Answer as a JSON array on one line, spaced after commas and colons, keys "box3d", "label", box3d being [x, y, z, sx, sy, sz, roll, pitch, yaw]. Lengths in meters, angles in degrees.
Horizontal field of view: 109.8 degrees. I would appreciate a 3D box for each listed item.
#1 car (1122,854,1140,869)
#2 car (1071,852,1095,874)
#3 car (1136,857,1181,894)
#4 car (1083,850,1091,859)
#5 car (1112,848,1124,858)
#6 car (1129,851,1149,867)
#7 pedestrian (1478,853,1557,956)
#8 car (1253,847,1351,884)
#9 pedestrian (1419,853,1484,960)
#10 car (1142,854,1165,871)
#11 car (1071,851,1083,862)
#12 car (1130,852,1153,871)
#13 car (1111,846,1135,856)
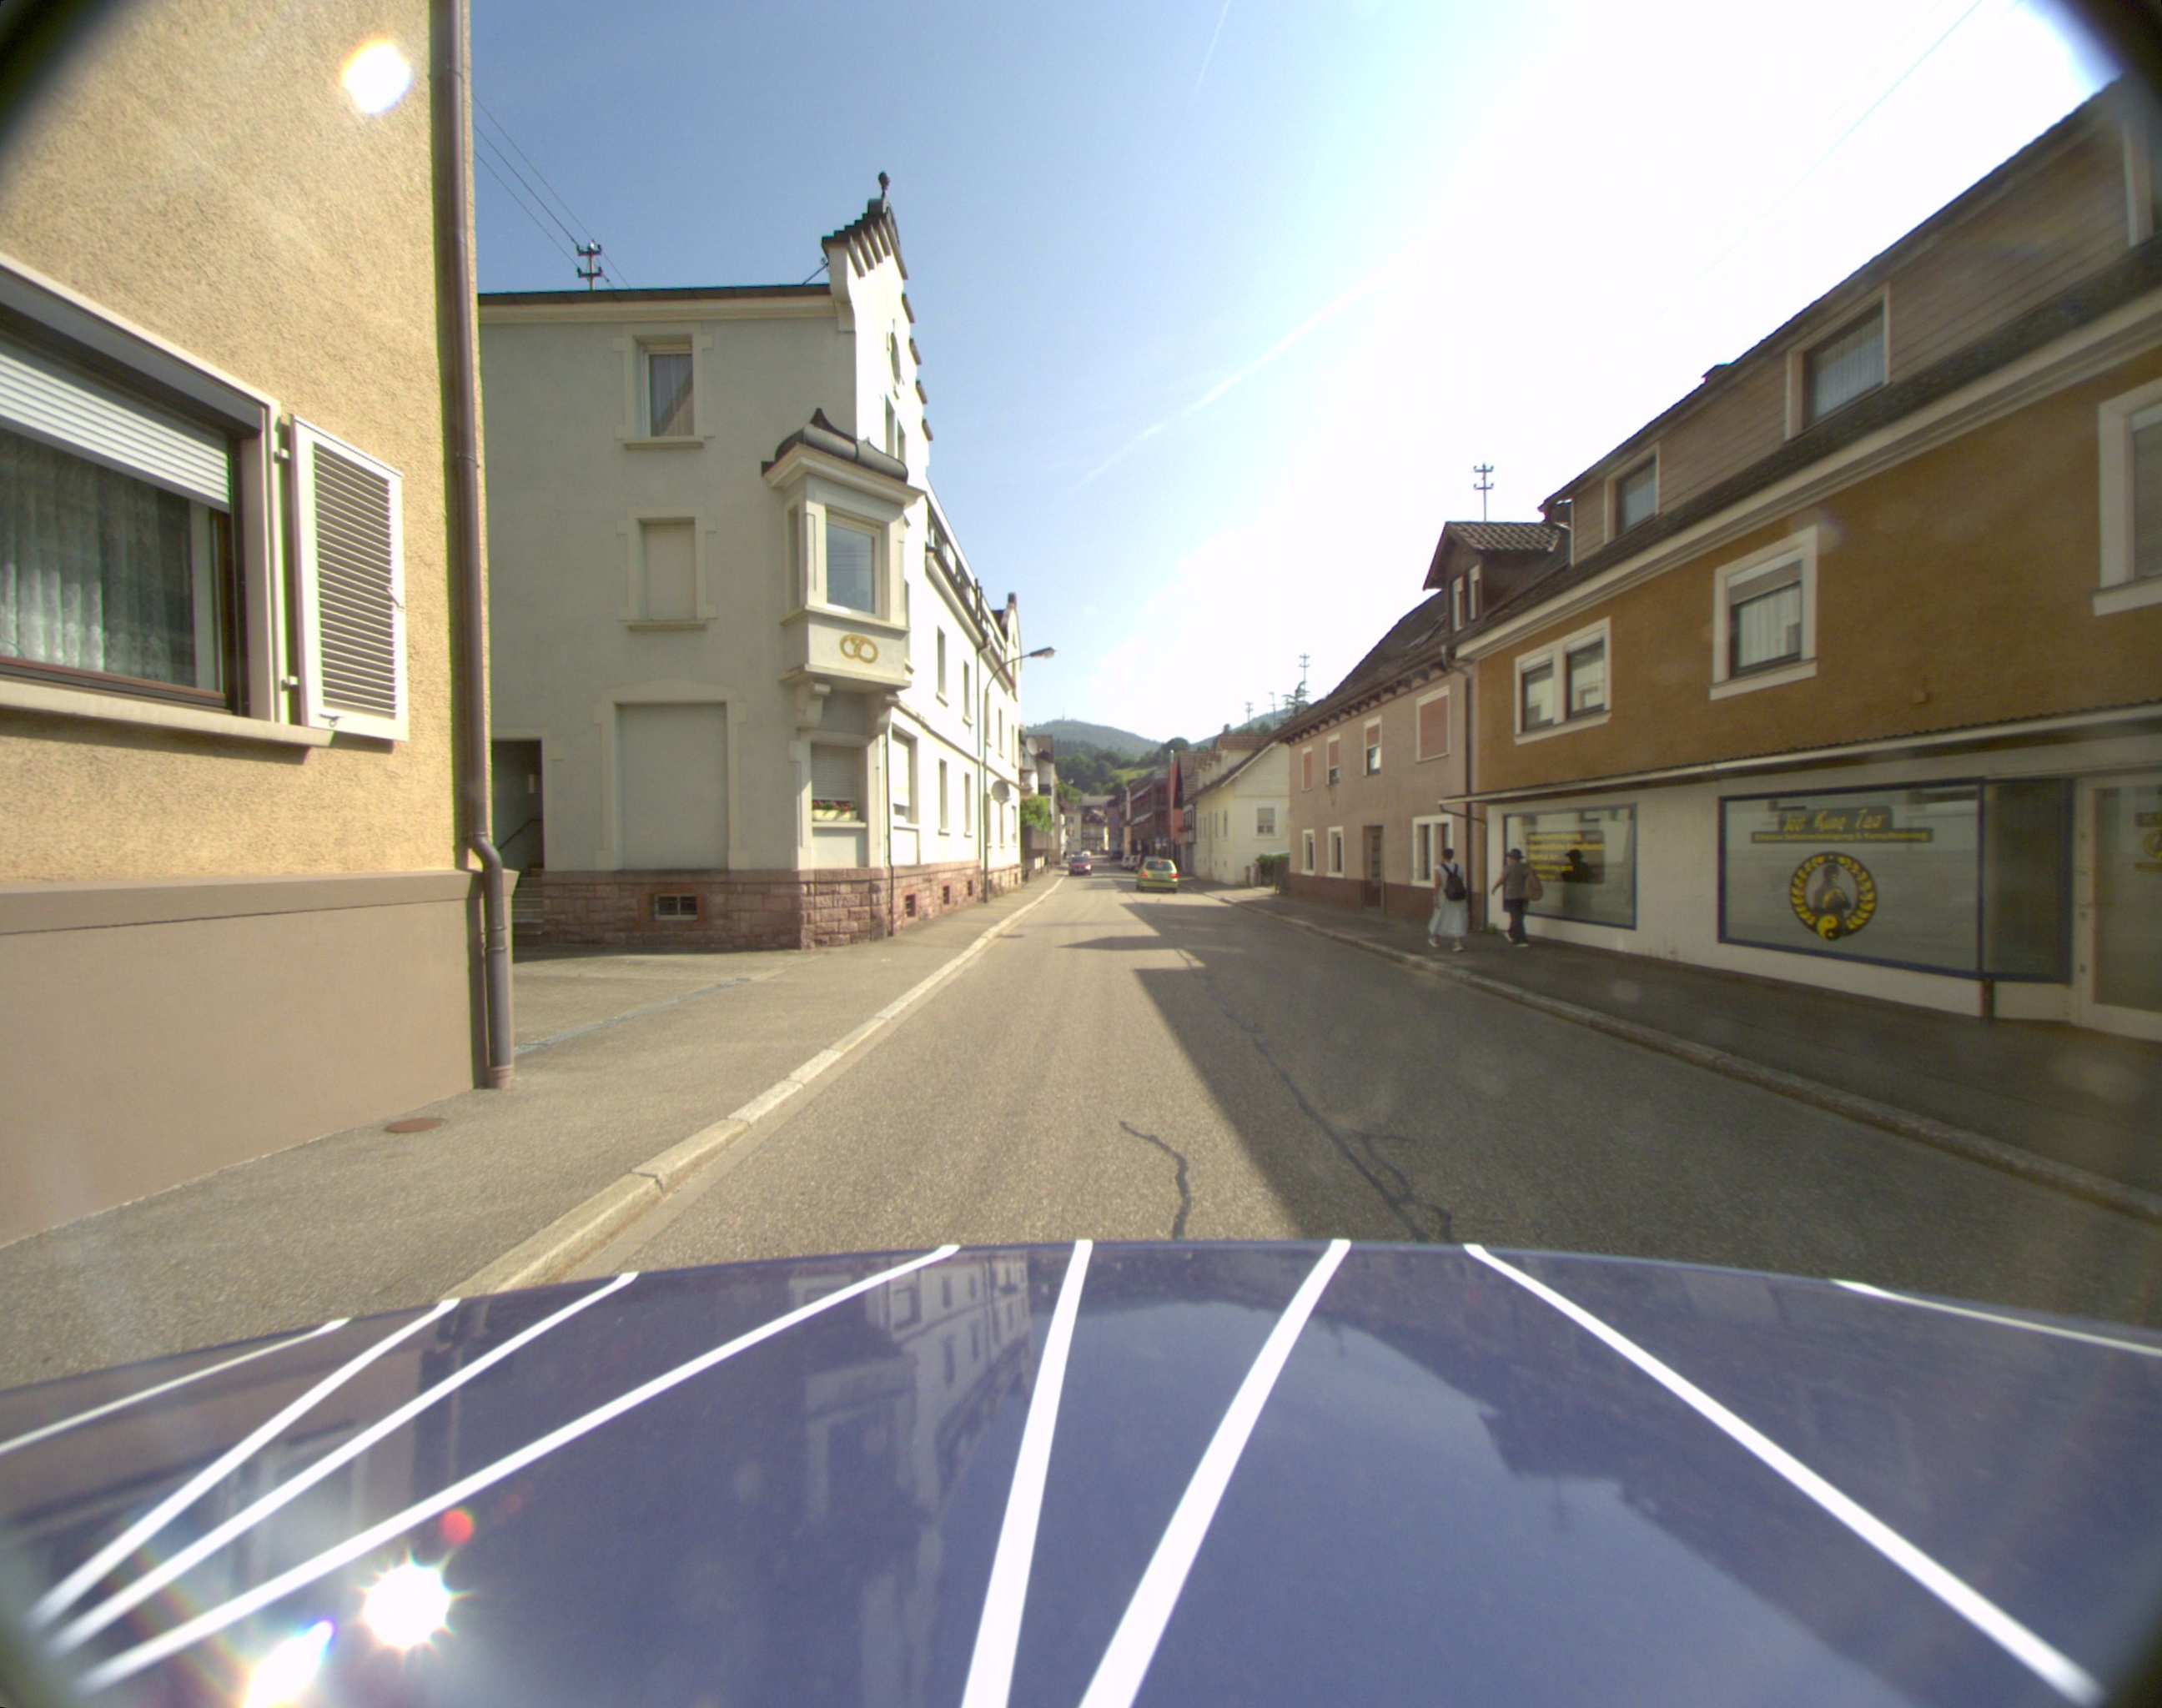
[{"box3d": [5.580, 0.831, 85.401, 1.678, 1.546, 3.764, -2, 0, -2], "label": "car"}, {"box3d": [0.123, 0.733, 60.842, 1.822, 1.652, 4.000, -1, -1, -2], "label": "car"}, {"box3d": [3.429, 0.932, 34.162, 1.600, 1.456, 3.659, 3, 0, 0], "label": "car"}, {"box3d": [1.335, 0.046, 174.143, 1.742, 2.002, 3.840, -1, 0, 2], "label": "car"}, {"box3d": [6.183, -0.162, 127.041, 1.787, 1.566, 3.888, -4, 1, -1], "label": "car"}, {"box3d": [5.972, 0.476, 78.562, 1.679, 1.580, 3.948, -1, 0, -2], "label": "car"}, {"box3d": [6.918, 0.779, 12.079, 0.736, 1.555, 0.824, -3, 1, 1], "label": "pedestrian"}, {"box3d": [10.376, 0.527, 35.849, 3.998, 1.584, 1.907, -2, 0, -2], "label": "car"}, {"box3d": [5.821, 0.806, 11.973, 0.641, 1.617, 0.777, -1, 1, 2], "label": "pedestrian"}, {"box3d": [6.396, 0.748, 67.601, 1.670, 1.423, 3.569, -2, 0, 1], "label": "car"}, {"box3d": [-0.782, 0.506, 143.040, 1.999, 2.002, 3.998, -2, 1, -3], "label": "car"}, {"box3d": [5.746, 0.681, 72.707, 1.725, 1.786, 4.268, -1, 0, -2], "label": "car"}, {"box3d": [7.460, -0.547, 135.908, 4.000, 1.674, 1.834, -1, -1, -9], "label": "car"}]
